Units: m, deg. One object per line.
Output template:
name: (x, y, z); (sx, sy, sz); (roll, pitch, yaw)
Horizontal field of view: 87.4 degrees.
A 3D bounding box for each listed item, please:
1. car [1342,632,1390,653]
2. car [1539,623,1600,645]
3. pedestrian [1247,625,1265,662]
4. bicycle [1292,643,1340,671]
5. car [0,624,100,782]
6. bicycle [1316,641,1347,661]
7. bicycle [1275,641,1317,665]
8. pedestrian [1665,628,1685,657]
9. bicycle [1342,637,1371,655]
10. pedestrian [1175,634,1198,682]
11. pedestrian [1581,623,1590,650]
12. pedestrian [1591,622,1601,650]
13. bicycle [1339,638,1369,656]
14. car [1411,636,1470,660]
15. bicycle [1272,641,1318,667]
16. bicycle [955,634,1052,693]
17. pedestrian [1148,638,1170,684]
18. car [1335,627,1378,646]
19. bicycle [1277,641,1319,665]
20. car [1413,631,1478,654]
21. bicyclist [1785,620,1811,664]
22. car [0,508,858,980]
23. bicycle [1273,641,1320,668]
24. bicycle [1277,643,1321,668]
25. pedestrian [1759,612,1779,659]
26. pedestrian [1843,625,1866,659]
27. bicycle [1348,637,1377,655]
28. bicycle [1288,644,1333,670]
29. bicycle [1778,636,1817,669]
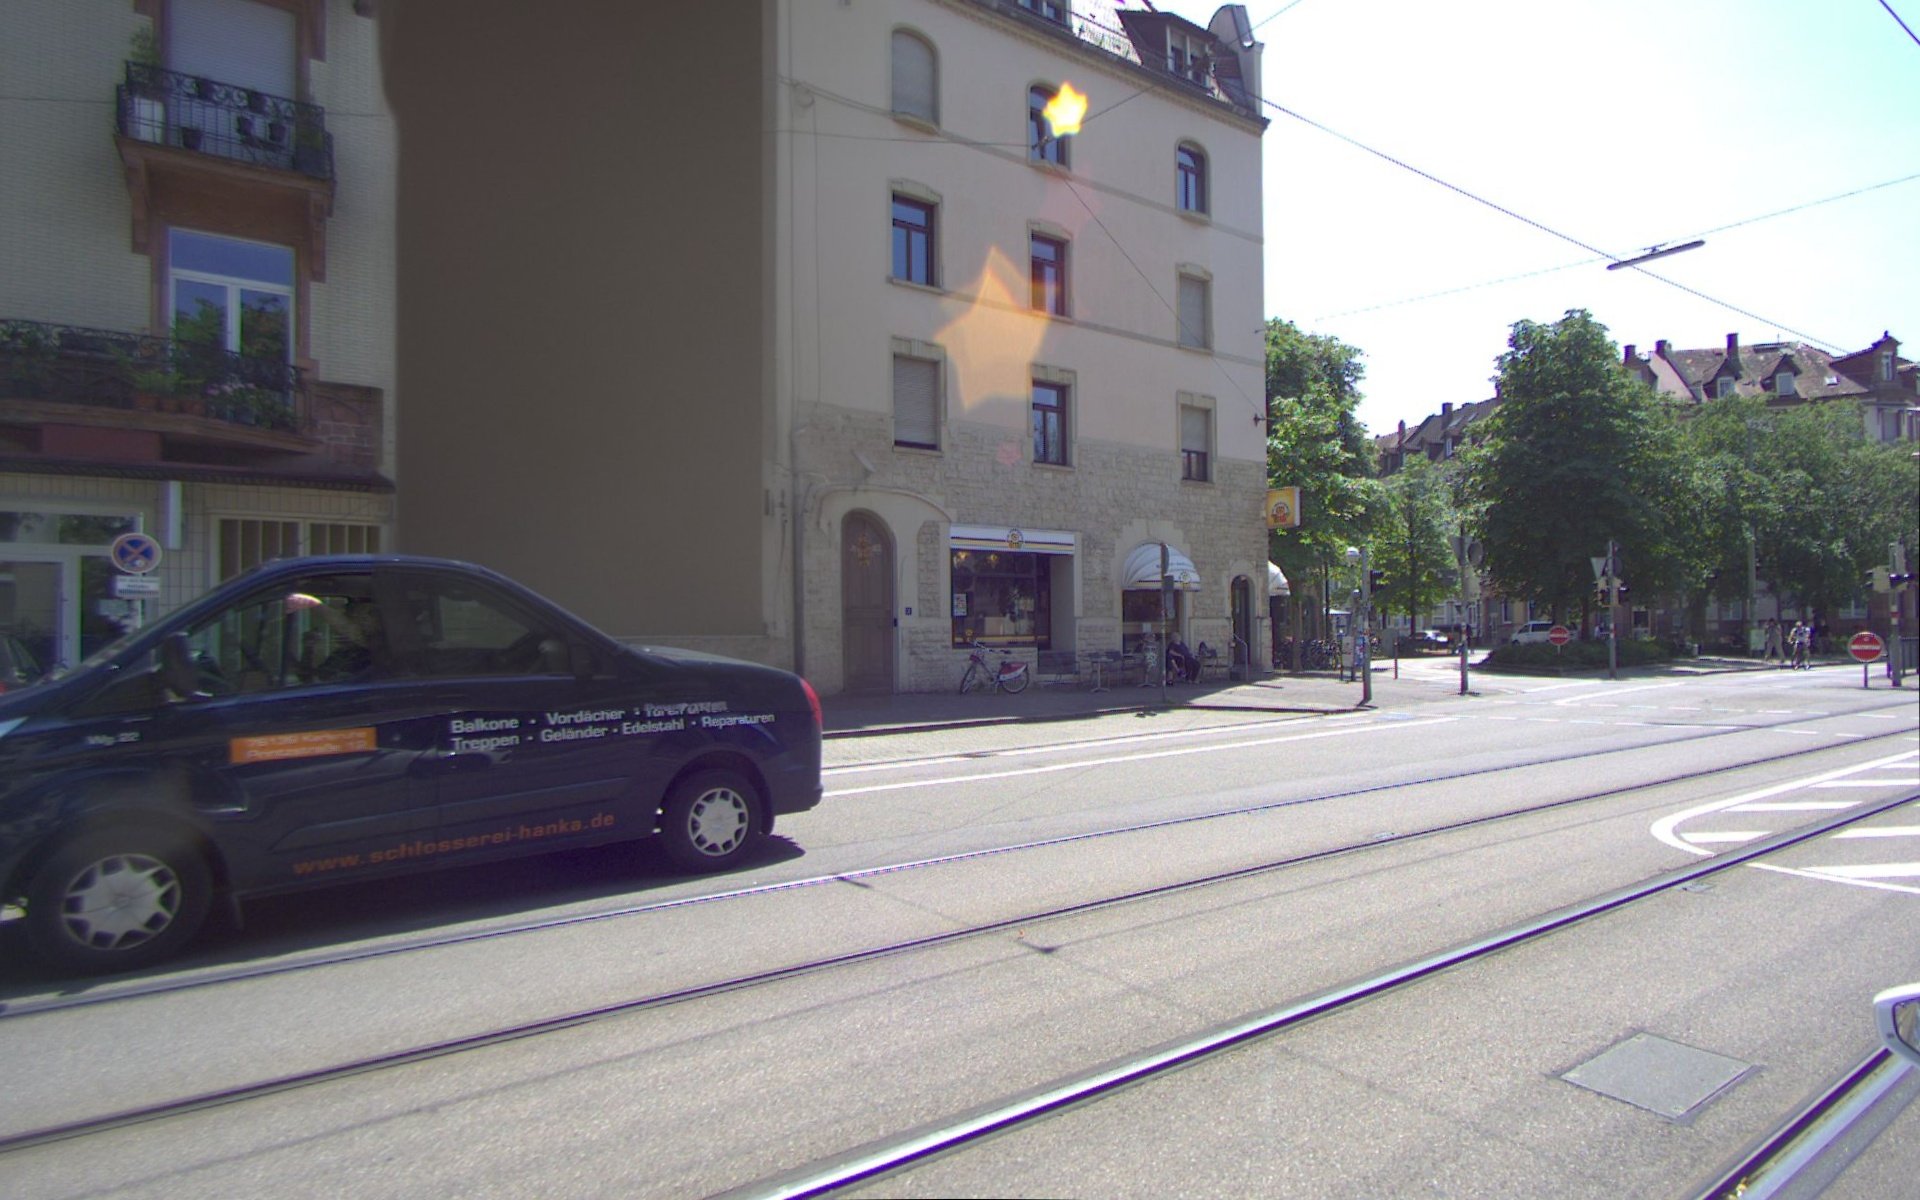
car: (29.562, 3.074, 73.319); (1.514, 1.461, 3.735); (1, -2, -10)
car: (41.684, 2.308, 68.755); (1.514, 1.461, 3.735); (1, -2, -10)
pedestrian: (14.565, 2.118, 49.361); (0.618, 1.800, 0.607); (1, -1, -31)
bicycle: (13.045, 2.092, 36.825); (1.639, 0.987, 0.290); (0, -1, 8)
car: (-10.654, 1.025, 10.826); (1.512, 1.491, 3.337); (1, -1, -30)
bicycle: (19.115, 2.619, 51.760); (0.407, 0.969, 1.470); (2, -2, -45)
bicycle: (14.139, 2.212, 42.306); (1.639, 0.987, 0.290); (0, -1, 8)
pedestrian: (31.148, 1.850, 43.768); (0.539, 1.272, 0.646); (0, -1, 15)
bicycle: (21.604, 2.490, 54.745); (0.407, 0.969, 1.470); (2, -2, -45)
pedestrian: (5.604, 1.427, 24.838); (0.402, 1.163, 0.402); (1, -2, -38)
pedestrian: (41.991, 2.467, 67.412); (0.499, 1.791, 0.527); (0, -1, 33)
pedestrian: (42.014, 2.356, 66.384); (0.555, 1.849, 0.633); (0, -2, 33)
bicycle: (21.294, 2.537, 54.293); (0.407, 0.969, 1.470); (2, -2, -45)
car: (33.523, 3.334, 70.146); (1.562, 1.596, 3.564); (1, -2, -26)
bicycle: (12.721, 2.053, 38.209); (1.639, 0.987, 0.290); (0, -1, 8)
bicycle: (0.944, 1.356, 21.564); (2.045, 1.241, 0.454); (1, -1, -16)
pedestrian: (4.827, 1.470, 24.371); (0.402, 1.103, 0.352); (1, -2, -38)
car: (35.817, 3.296, 90.850); (1.728, 1.639, 3.994); (0, -2, -10)
bicycle: (14.093, 2.198, 41.914); (1.639, 0.987, 0.290); (0, -1, 8)
car: (31.804, 2.772, 65.886); (1.521, 1.461, 3.717); (1, -2, -26)
bicyclist: (30.752, 1.542, 36.857); (0.579, 1.595, 0.604); (1, -2, -35)
car: (-3.118, 0.698, 6.147); (4.784, 1.963, 1.829); (2, -4, -40)
bicycle: (12.651, 2.055, 37.742); (1.639, 0.987, 0.290); (0, -1, 8)
bicycle: (13.383, 2.185, 39.686); (1.639, 0.987, 0.290); (0, -1, 8)
pedestrian: (33.404, 1.463, 41.471); (0.488, 1.904, 0.508); (1, -1, -30)
pedestrian: (42.976, 2.016, 48.258); (0.766, 1.626, 0.674); (1, -2, -38)
bicycle: (22.054, 2.498, 55.033); (0.407, 0.969, 1.470); (2, -2, -45)
bicycle: (13.677, 2.220, 39.195); (1.639, 0.987, 0.290); (0, -1, 8)
bicycle: (30.710, 1.915, 36.819); (1.958, 1.172, 0.624); (1, -1, -36)
